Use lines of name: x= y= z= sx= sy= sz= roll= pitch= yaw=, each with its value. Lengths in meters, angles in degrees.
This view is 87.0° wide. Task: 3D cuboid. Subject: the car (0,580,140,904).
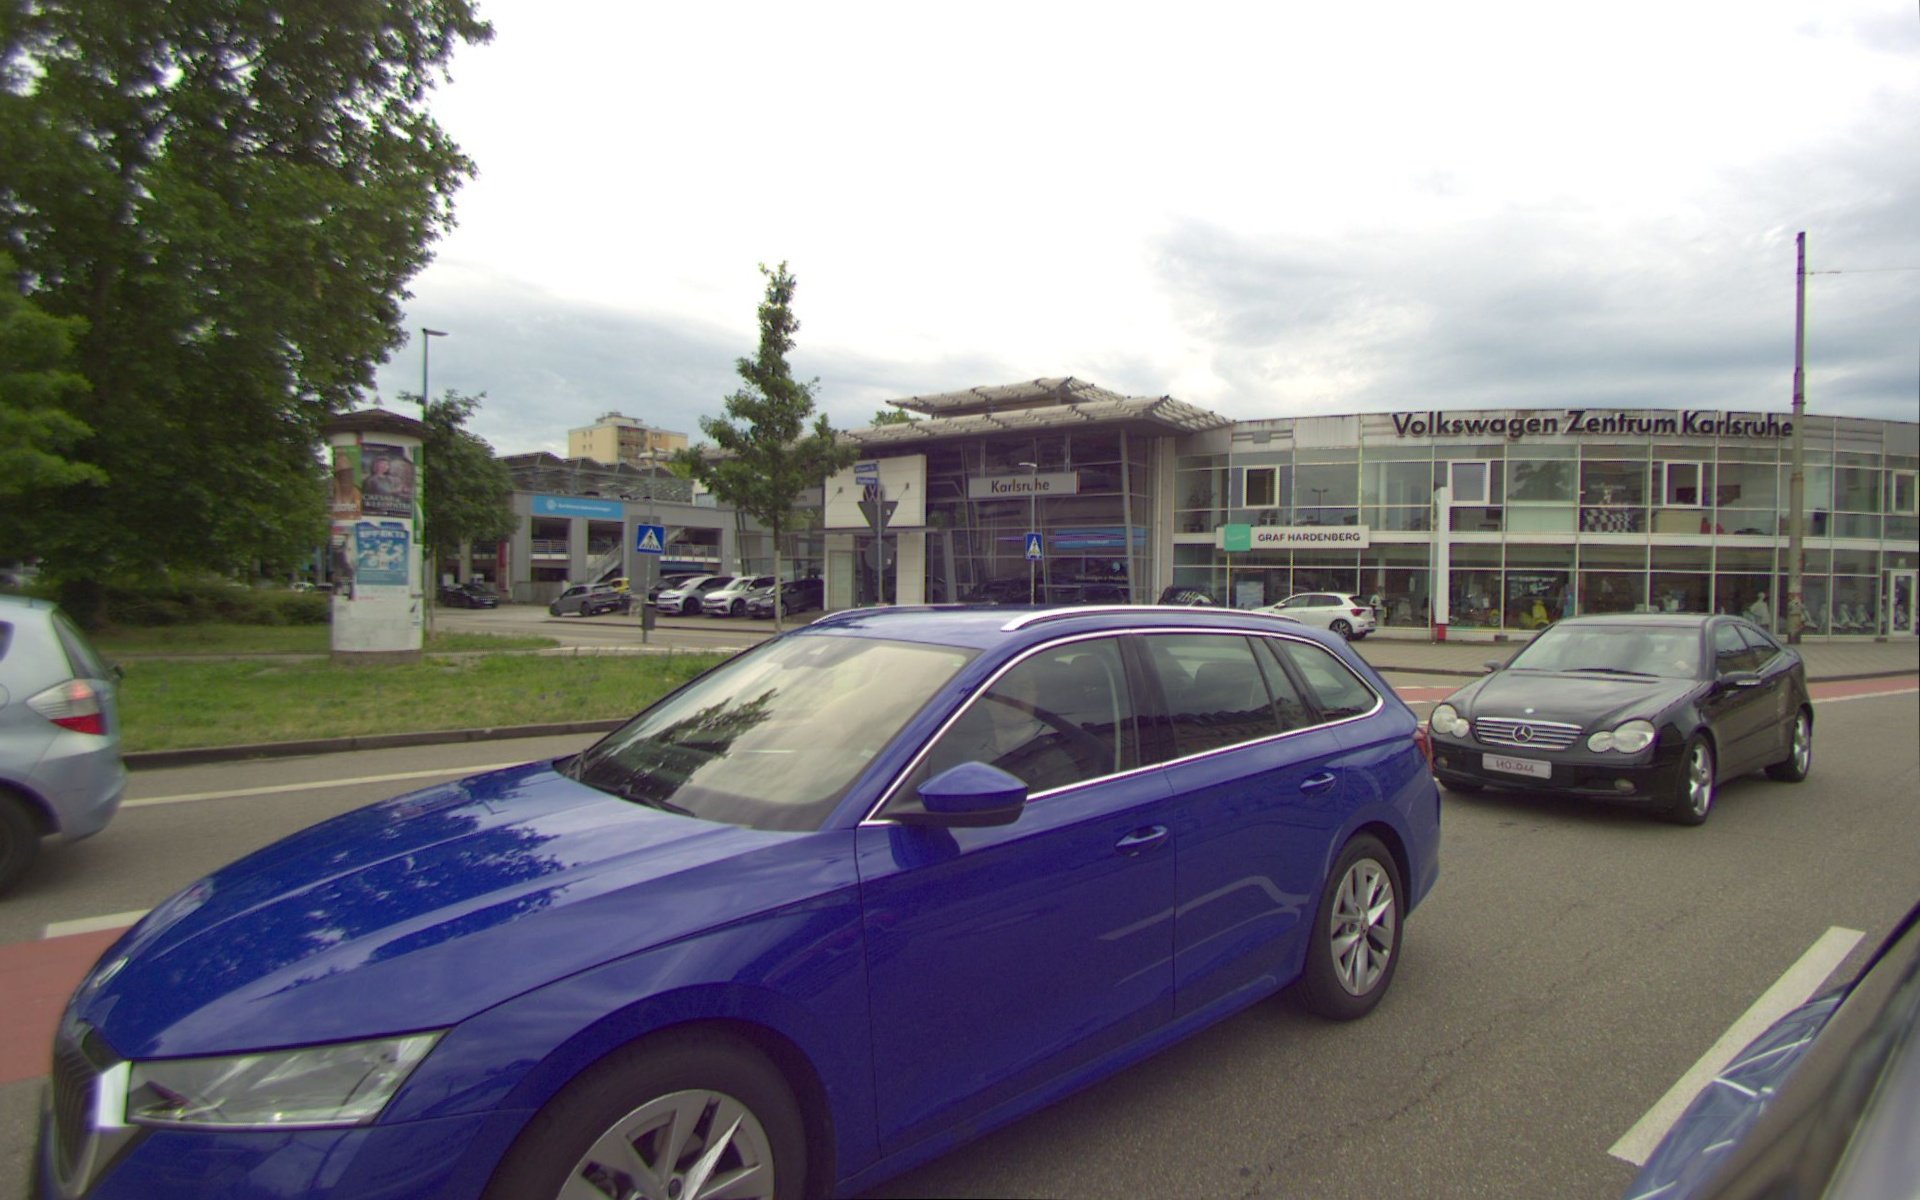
car: x=-6.130 y=0.647 z=4.331 sx=4.027 sy=1.485 sz=1.752 roll=0 pitch=1 yaw=-41

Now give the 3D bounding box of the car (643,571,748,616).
car: x=-11.988 y=-0.333 z=46.188 sx=1.859 sy=1.719 sz=4.419 roll=0 pitch=4 yaw=37

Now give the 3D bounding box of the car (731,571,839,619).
car: x=-7.324 y=-0.252 z=42.848 sx=1.886 sy=1.717 sz=4.421 roll=0 pitch=4 yaw=36

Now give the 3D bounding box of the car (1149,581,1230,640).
car: x=7.350 y=0.275 z=32.744 sx=1.867 sy=1.581 sz=4.219 roll=1 pitch=3 yaw=4

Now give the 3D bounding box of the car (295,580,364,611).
car: x=-37.072 y=-0.290 z=59.498 sx=4.446 sy=1.643 sz=1.838 roll=2 pitch=2 yaw=35

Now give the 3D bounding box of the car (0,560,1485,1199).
car: x=-0.115 y=0.660 z=3.345 sx=4.387 sy=1.507 sz=1.783 roll=-1 pitch=2 yaw=-41

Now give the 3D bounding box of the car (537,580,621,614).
car: x=-18.646 y=-0.166 z=49.494 sx=3.988 sy=1.583 sz=1.896 roll=0 pitch=2 yaw=35

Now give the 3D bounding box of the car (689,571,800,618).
car: x=-9.407 y=-0.278 z=44.593 sx=1.850 sy=1.719 sz=4.716 roll=0 pitch=4 yaw=36

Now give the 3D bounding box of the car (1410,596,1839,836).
car: x=5.456 y=0.702 z=8.124 sx=3.996 sy=1.439 sz=1.714 roll=0 pitch=1 yaw=-39

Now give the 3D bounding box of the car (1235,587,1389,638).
car: x=11.006 y=0.354 z=31.792 sx=4.243 sy=1.471 sz=1.757 roll=1 pitch=1 yaw=40

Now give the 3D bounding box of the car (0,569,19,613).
car: x=-36.507 y=-0.333 z=36.330 sx=4.408 sy=1.567 sz=1.854 roll=1 pitch=1 yaw=13

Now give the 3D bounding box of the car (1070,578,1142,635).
car: x=4.702 y=0.153 z=33.125 sx=1.824 sy=1.522 sz=4.340 roll=0 pitch=4 yaw=2

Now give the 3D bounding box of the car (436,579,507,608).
car: x=-28.995 y=-0.405 z=60.045 sx=4.446 sy=1.567 sz=1.876 roll=2 pitch=2 yaw=35

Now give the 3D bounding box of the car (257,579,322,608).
car: x=-41.727 y=-0.417 z=62.972 sx=4.446 sy=1.643 sz=1.838 roll=2 pitch=2 yaw=35

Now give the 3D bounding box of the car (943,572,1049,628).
car: x=1.357 y=-0.054 z=35.867 sx=1.846 sy=1.652 sz=4.464 roll=0 pitch=4 yaw=31
